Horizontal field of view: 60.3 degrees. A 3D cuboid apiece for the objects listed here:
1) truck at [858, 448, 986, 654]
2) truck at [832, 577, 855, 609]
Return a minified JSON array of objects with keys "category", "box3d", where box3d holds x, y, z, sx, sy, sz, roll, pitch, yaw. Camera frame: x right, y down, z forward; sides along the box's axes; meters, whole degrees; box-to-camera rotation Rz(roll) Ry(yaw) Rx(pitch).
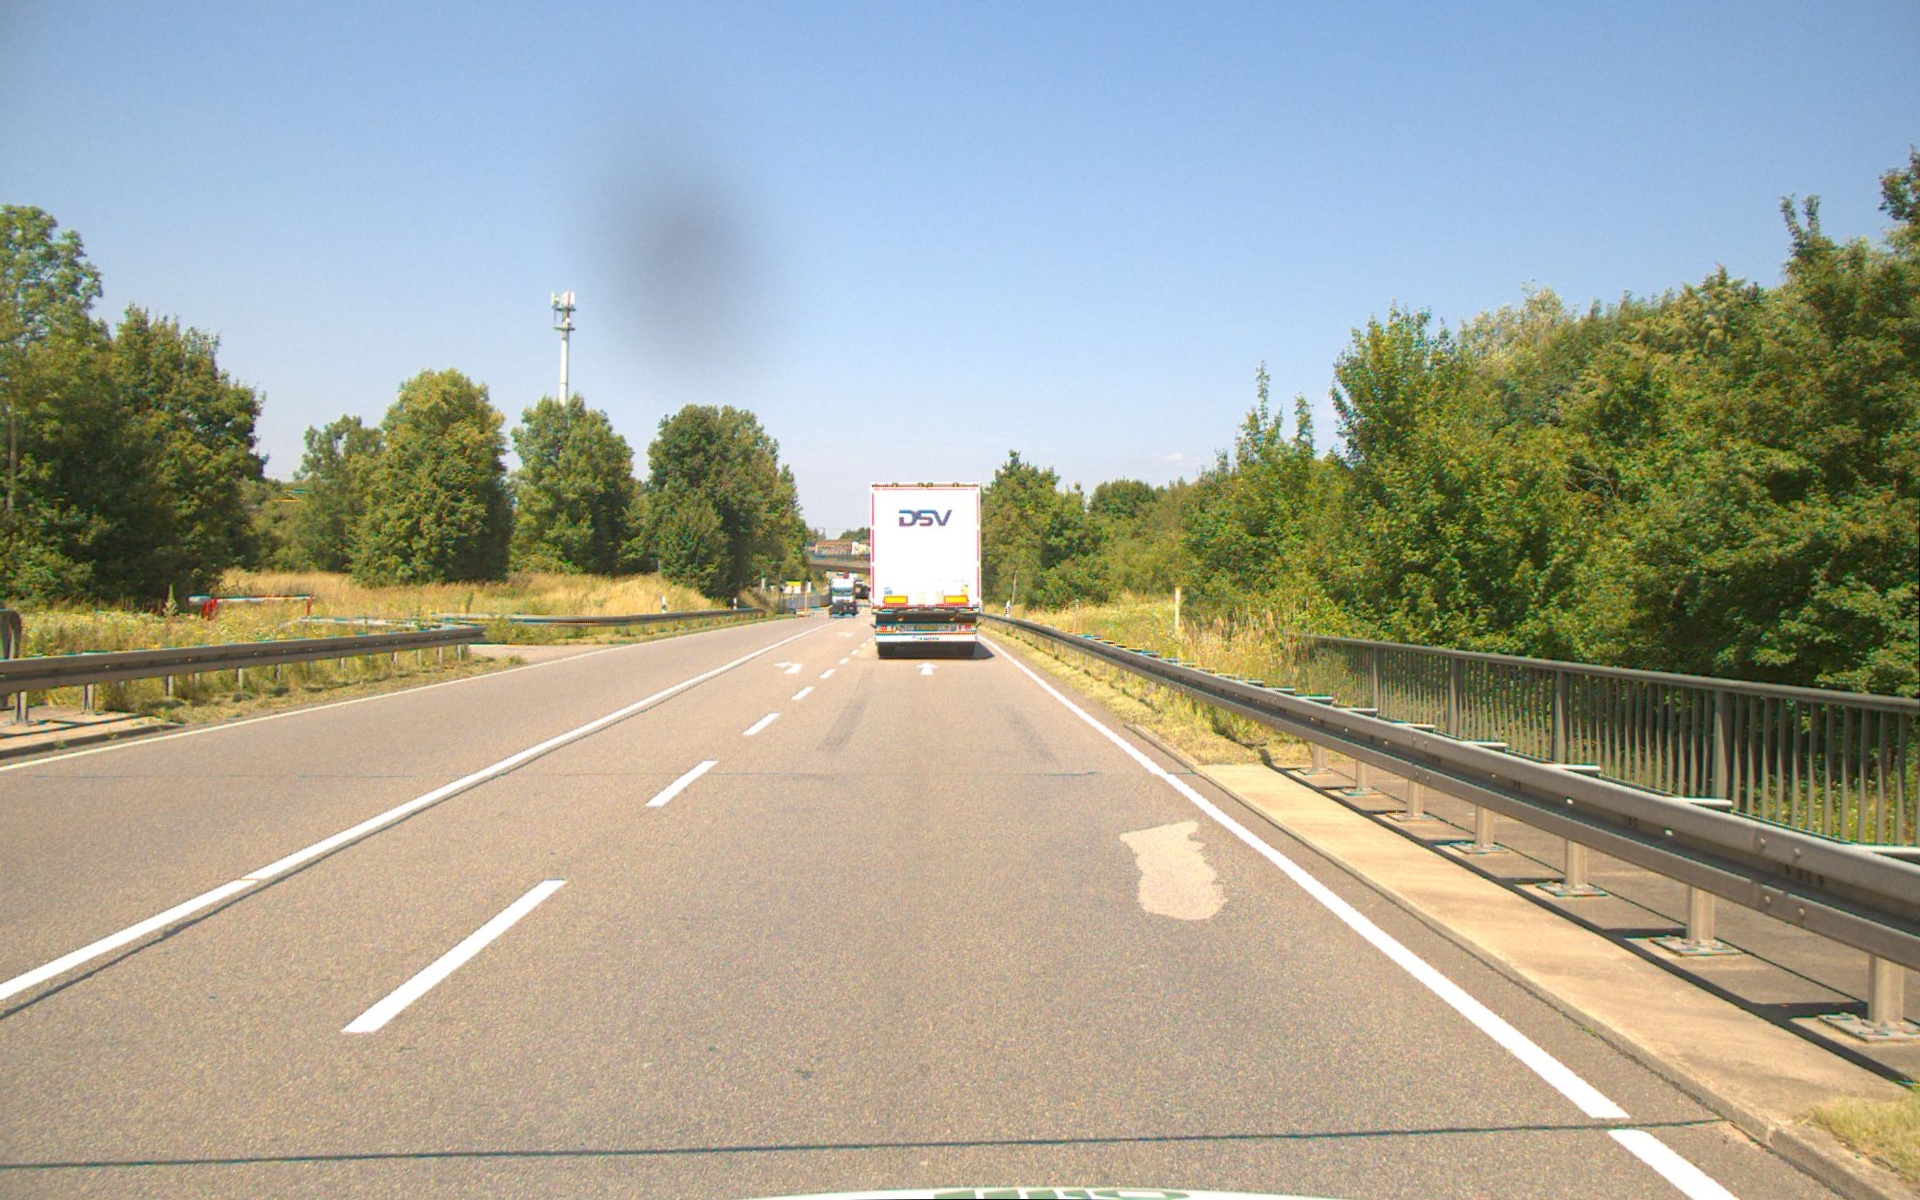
[{"category":"truck","box3d":[-0.946,-1.087,42.207,2.890,4.648,9.860,0,0,-1]},{"category":"truck","box3d":[-14.039,-0.843,199.878,2.306,3.815,12.619,0,0,-2]}]
